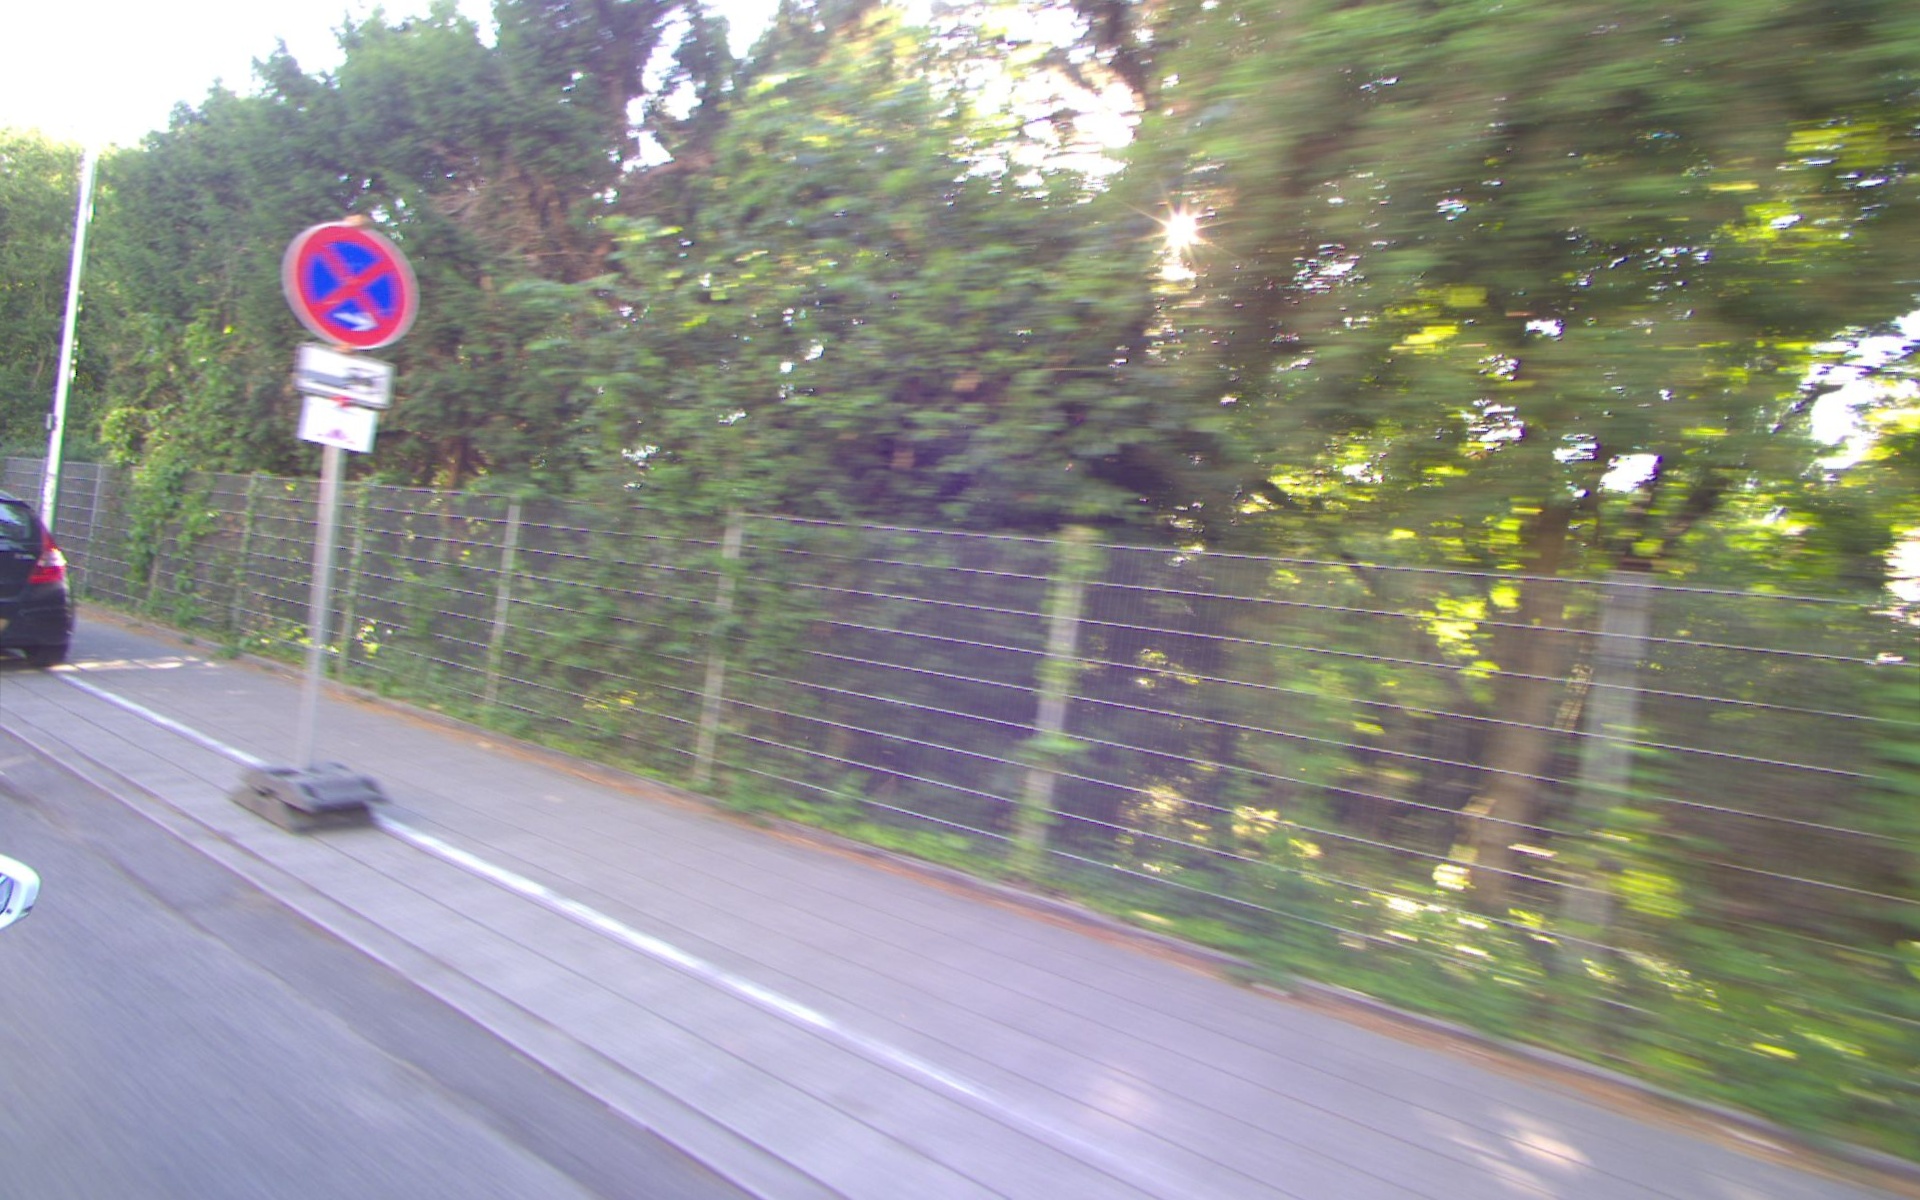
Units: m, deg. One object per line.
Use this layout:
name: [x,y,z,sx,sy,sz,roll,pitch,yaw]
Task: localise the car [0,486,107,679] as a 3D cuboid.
car: [-9.147,-0.358,8.562,3.936,1.458,1.796,7,0,34]
